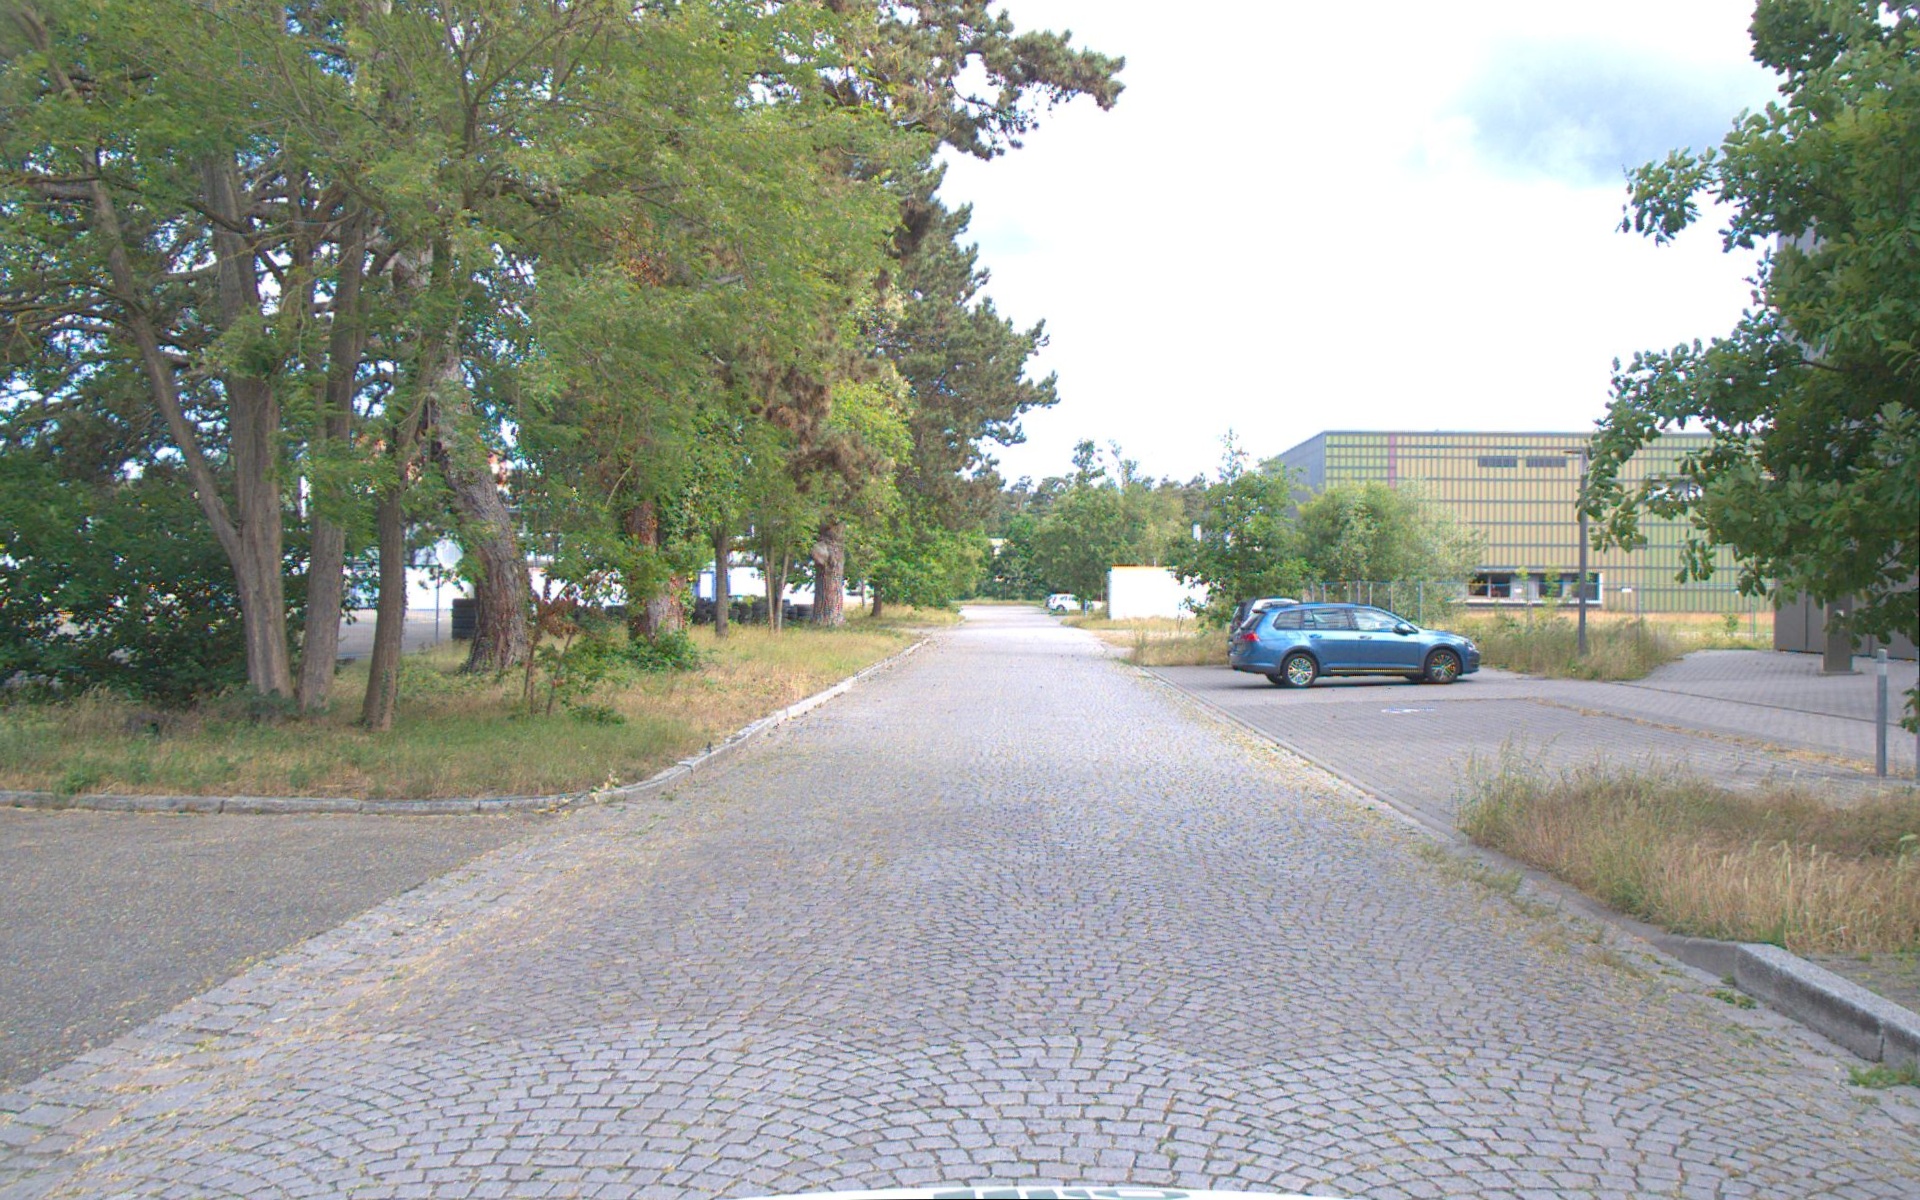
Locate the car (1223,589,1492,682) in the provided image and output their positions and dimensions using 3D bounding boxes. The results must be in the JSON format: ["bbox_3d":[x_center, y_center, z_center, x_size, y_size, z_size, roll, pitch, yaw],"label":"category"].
[{"bbox_3d":[7.226,0.624,30.352,4.426,1.558,1.999,-1,0,-2],"label":"car"}]

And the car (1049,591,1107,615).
[{"bbox_3d":[8.837,0.225,123.948,4.265,1.717,1.925,0,0,1],"label":"car"}]

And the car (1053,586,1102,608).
[{"bbox_3d":[10.305,-0.264,144.917,4.264,1.811,1.926,0,0,3],"label":"car"}]

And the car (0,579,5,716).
[{"bbox_3d":[-11.438,0.529,16.029,1.880,1.502,4.368,1,0,-1],"label":"car"}]

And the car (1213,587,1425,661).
[{"bbox_3d":[8.116,0.535,37.710,4.424,1.558,2.001,-1,0,2],"label":"car"}]
